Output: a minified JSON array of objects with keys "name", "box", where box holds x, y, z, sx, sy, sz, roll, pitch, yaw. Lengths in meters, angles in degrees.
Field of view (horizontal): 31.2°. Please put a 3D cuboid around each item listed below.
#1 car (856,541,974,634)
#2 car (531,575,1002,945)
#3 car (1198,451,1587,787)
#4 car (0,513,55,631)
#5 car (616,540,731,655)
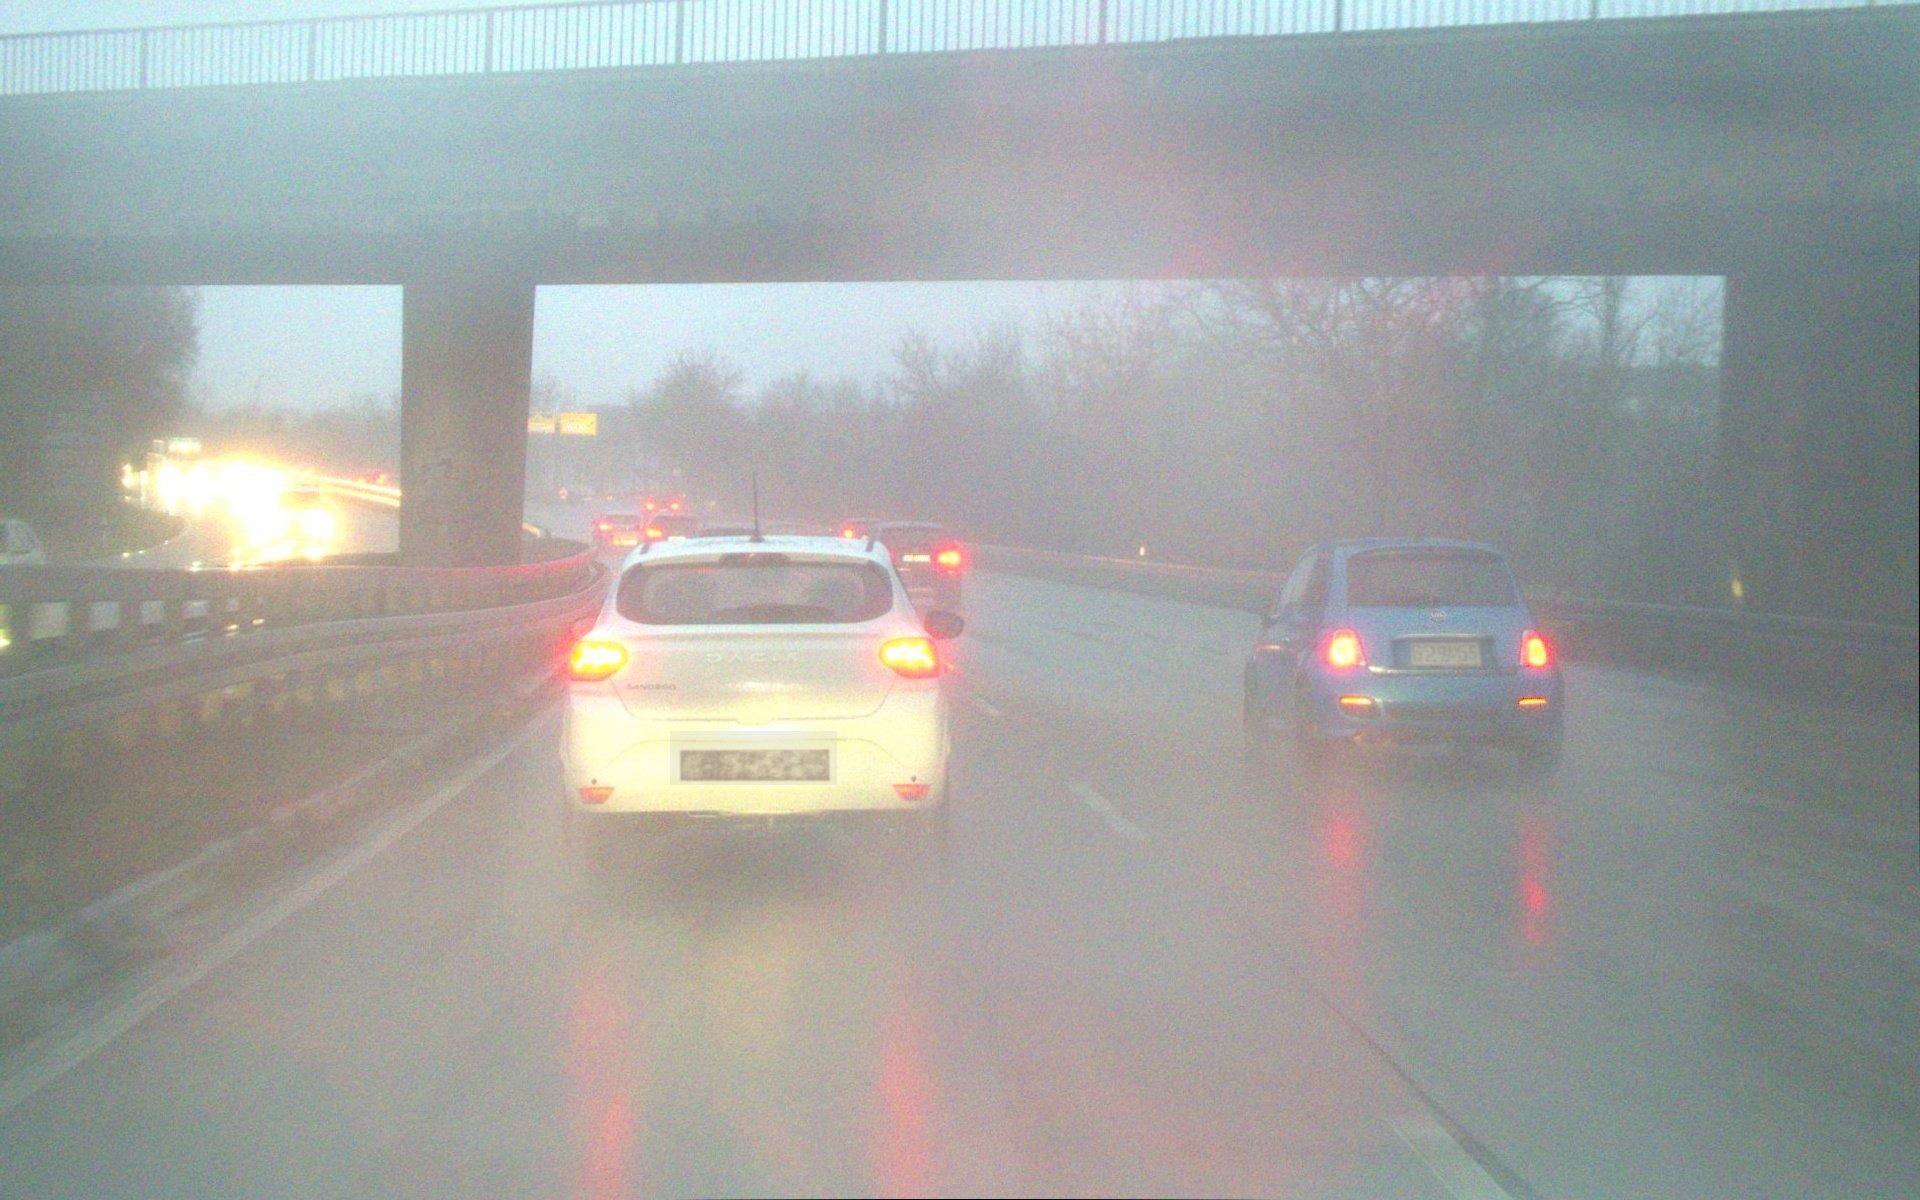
[{"name":"car","box":[-0.902,-0.212,66.292,1.932,1.541,3.773,-4,-1,-4]},{"name":"car","box":[-0.871,0.704,17.120,2.025,1.569,4.000,2,0,-1]},{"name":"car","box":[2.798,0.118,23.081,1.932,2.012,3.774,2,0,-2]},{"name":"car","box":[-14.406,-0.425,49.972,1.582,1.664,4.296,0,1,-3]},{"name":"car","box":[-5.277,-0.043,63.620,1.993,2.007,4.000,2,0,-4]}]
